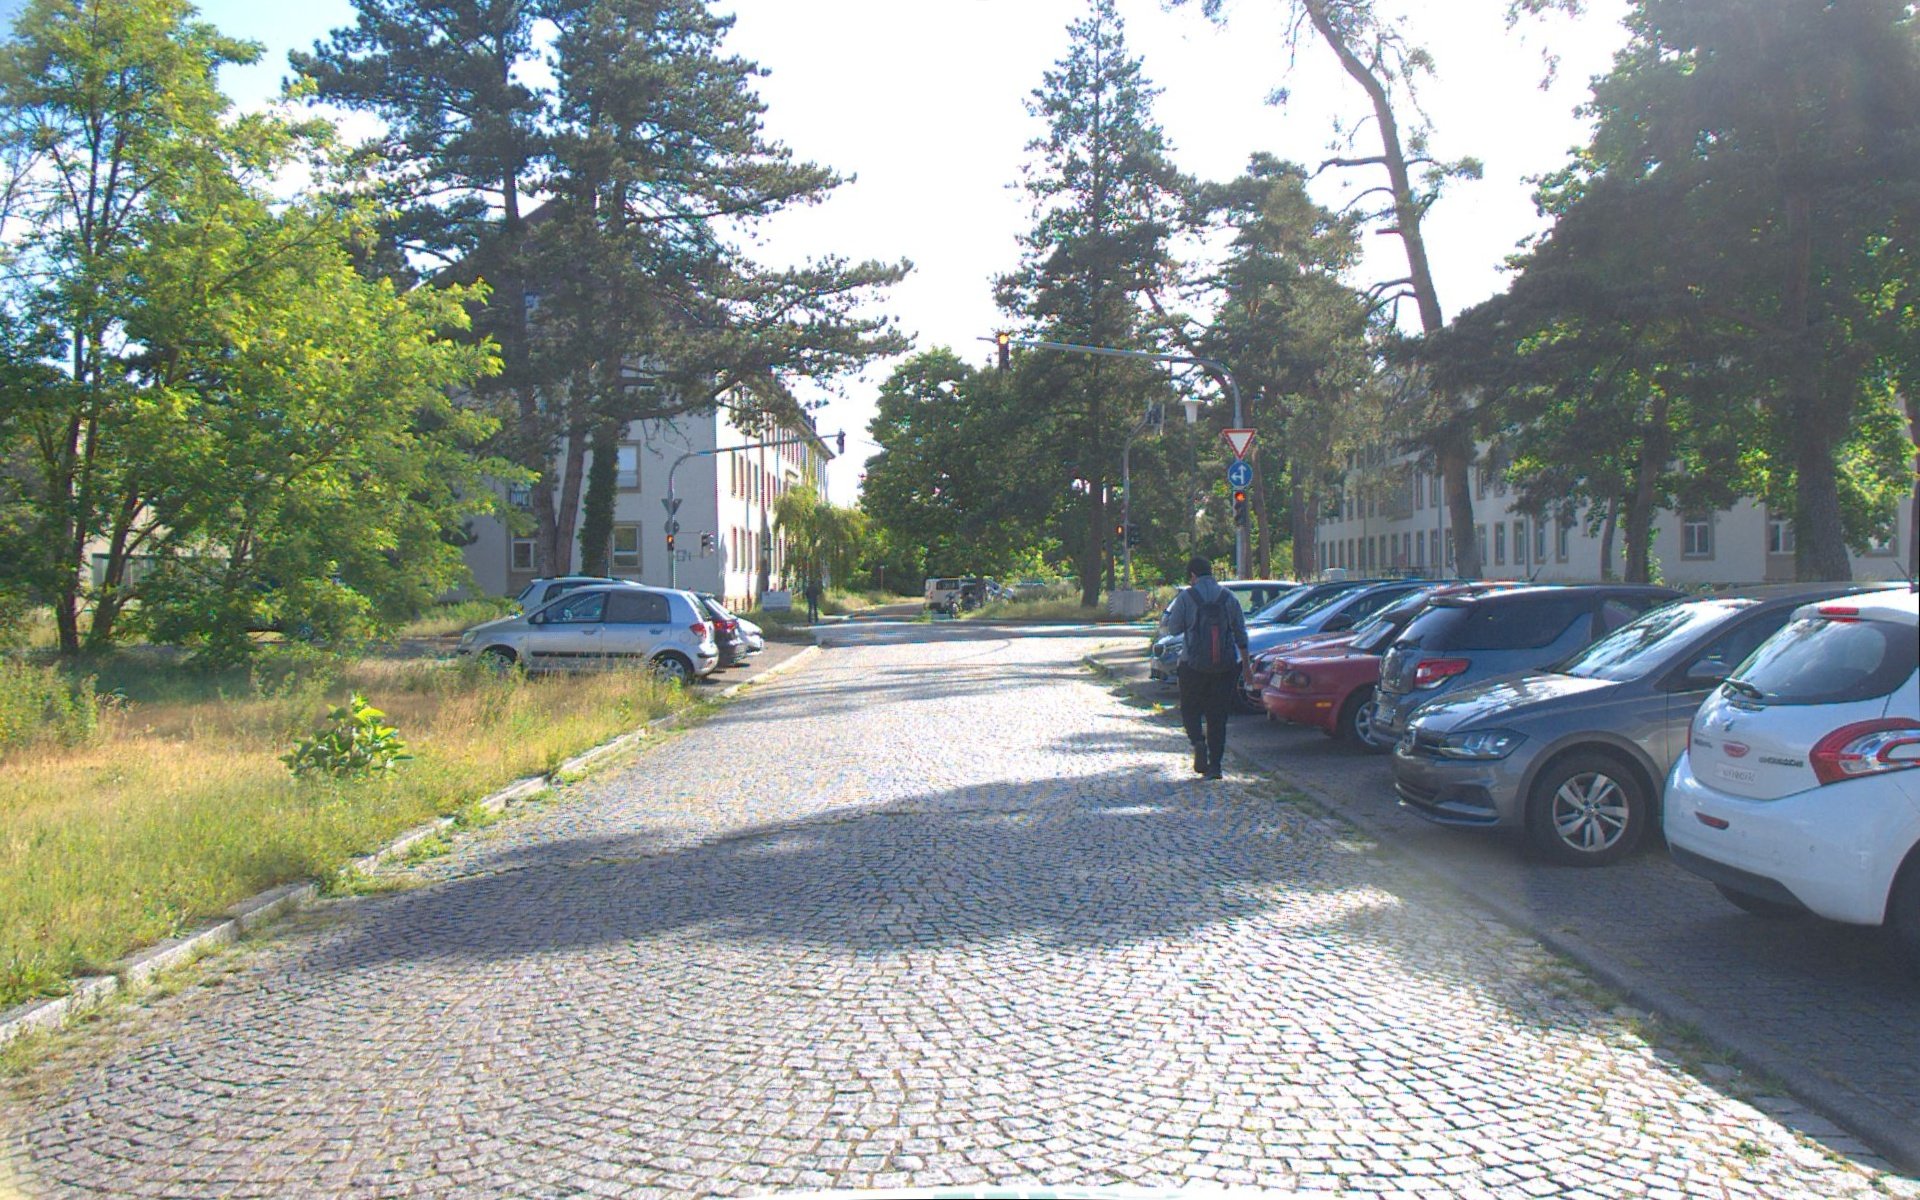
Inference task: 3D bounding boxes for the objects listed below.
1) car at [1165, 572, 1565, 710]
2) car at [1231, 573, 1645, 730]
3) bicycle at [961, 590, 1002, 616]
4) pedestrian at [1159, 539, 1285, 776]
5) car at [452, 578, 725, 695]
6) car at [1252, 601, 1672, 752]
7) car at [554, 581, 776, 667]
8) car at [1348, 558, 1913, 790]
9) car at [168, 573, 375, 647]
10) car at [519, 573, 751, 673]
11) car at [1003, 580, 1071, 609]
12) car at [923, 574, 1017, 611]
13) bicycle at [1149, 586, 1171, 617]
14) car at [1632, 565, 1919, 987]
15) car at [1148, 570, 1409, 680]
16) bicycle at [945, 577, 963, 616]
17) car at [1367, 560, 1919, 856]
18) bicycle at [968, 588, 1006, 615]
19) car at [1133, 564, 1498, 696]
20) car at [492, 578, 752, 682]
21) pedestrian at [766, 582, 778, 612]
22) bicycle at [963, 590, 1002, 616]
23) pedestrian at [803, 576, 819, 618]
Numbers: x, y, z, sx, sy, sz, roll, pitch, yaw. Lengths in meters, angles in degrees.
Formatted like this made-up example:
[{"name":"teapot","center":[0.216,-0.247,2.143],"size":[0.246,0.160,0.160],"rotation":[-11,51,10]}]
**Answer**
[{"name":"car","center":[4.761,0.459,19.829],"size":[4.310,1.413,1.788],"rotation":[-2,0,-2]},{"name":"car","center":[4.987,0.512,17.589],"size":[3.898,1.474,1.655],"rotation":[-2,0,-1]},{"name":"bicycle","center":[0.944,0.129,74.086],"size":[1.798,1.131,0.495],"rotation":[-1,0,-4]},{"name":"pedestrian","center":[2.049,0.436,13.028],"size":[0.738,1.755,0.828],"rotation":[4,0,-1]},{"name":"car","center":[-5.362,0.509,24.227],"size":[3.612,1.554,1.698],"rotation":[2,0,-3]},{"name":"car","center":[4.518,0.667,15.195],"size":[3.390,1.264,1.536],"rotation":[-1,0,0]},{"name":"car","center":[-5.700,0.443,32.220],"size":[3.903,1.522,1.774],"rotation":[2,1,4]},{"name":"car","center":[4.976,0.515,12.606],"size":[3.588,1.480,1.666],"rotation":[-3,0,-1]},{"name":"car","center":[-16.343,0.214,39.405],"size":[4.059,1.636,2.010],"rotation":[-1,1,0]},{"name":"car","center":[-5.756,0.391,29.596],"size":[3.801,1.643,1.660],"rotation":[1,0,-2]},{"name":"car","center":[4.442,-0.312,95.948],"size":[3.673,1.607,1.738],"rotation":[-1,0,-8]},{"name":"car","center":[0.525,-0.421,91.995],"size":[4.974,1.951,1.995],"rotation":[-1,0,-10]},{"name":"bicycle","center":[7.523,0.053,62.261],"size":[0.706,1.134,2.586],"rotation":[-1,0,9]},{"name":"car","center":[4.888,0.595,6.801],"size":[3.570,1.518,1.634],"rotation":[-1,0,0]},{"name":"car","center":[4.790,0.362,25.184],"size":[3.598,1.468,1.665],"rotation":[-3,0,-1]},{"name":"bicycle","center":[-0.275,-0.156,70.716],"size":[0.738,1.608,2.536],"rotation":[-1,0,-1]},{"name":"car","center":[4.474,0.555,9.728],"size":[3.703,1.476,1.758],"rotation":[-2,0,1]},{"name":"bicycle","center":[1.231,0.078,75.315],"size":[1.693,1.185,0.560],"rotation":[-1,0,-4]},{"name":"car","center":[4.797,0.379,22.745],"size":[4.528,1.481,1.869],"rotation":[-3,1,-3]},{"name":"car","center":[-5.423,0.461,26.890],"size":[3.858,1.470,1.690],"rotation":[2,0,-2]},{"name":"pedestrian","center":[-10.005,-0.163,87.963],"size":[0.595,1.587,0.544],"rotation":[0,0,-7]},{"name":"bicycle","center":[1.006,0.124,74.632],"size":[1.693,1.131,0.484],"rotation":[-1,0,-4]},{"name":"pedestrian","center":[-6.320,-0.126,70.176],"size":[0.594,1.783,0.630],"rotation":[0,0,-1]}]
